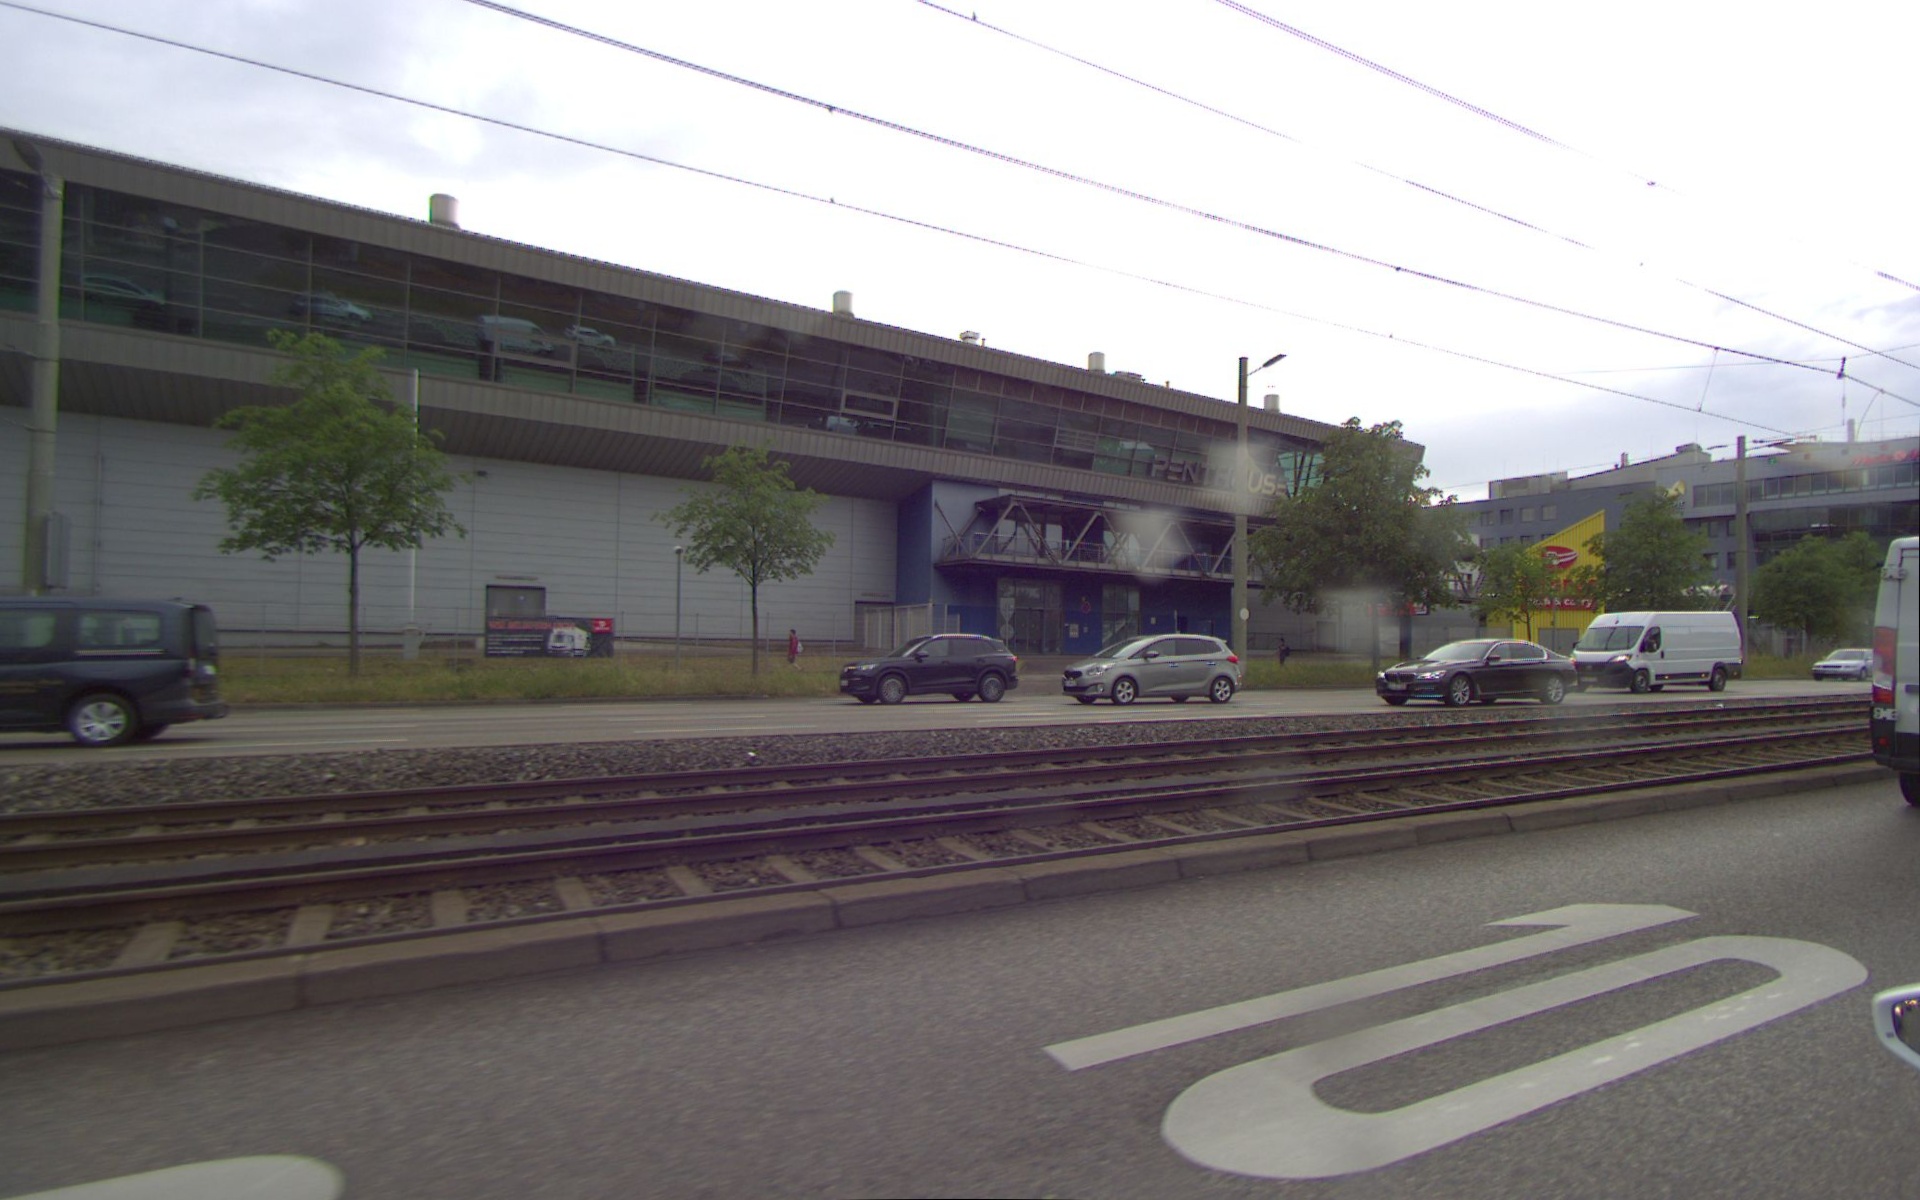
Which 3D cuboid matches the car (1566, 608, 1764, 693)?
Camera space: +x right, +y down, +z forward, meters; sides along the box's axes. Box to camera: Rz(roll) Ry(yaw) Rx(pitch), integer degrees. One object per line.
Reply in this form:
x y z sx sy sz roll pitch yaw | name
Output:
21.961 1.553 31.225 6.474 2.440 2.206 1 -2 -26 | car

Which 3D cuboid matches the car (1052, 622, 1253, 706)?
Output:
4.534 1.486 23.564 4.433 1.807 1.795 1 -4 -26 | car

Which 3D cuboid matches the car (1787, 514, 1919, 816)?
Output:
9.701 0.563 8.524 4.844 2.325 2.435 1 2 -29 | car

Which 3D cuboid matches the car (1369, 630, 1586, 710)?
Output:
11.647 1.513 22.541 4.890 1.642 1.795 1 -2 -26 | car

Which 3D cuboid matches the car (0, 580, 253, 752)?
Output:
-11.564 0.772 12.069 4.740 1.953 1.795 1 -2 -26 | car

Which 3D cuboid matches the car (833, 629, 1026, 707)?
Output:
-0.729 1.622 24.693 4.433 1.767 1.795 1 -2 -26 | car
